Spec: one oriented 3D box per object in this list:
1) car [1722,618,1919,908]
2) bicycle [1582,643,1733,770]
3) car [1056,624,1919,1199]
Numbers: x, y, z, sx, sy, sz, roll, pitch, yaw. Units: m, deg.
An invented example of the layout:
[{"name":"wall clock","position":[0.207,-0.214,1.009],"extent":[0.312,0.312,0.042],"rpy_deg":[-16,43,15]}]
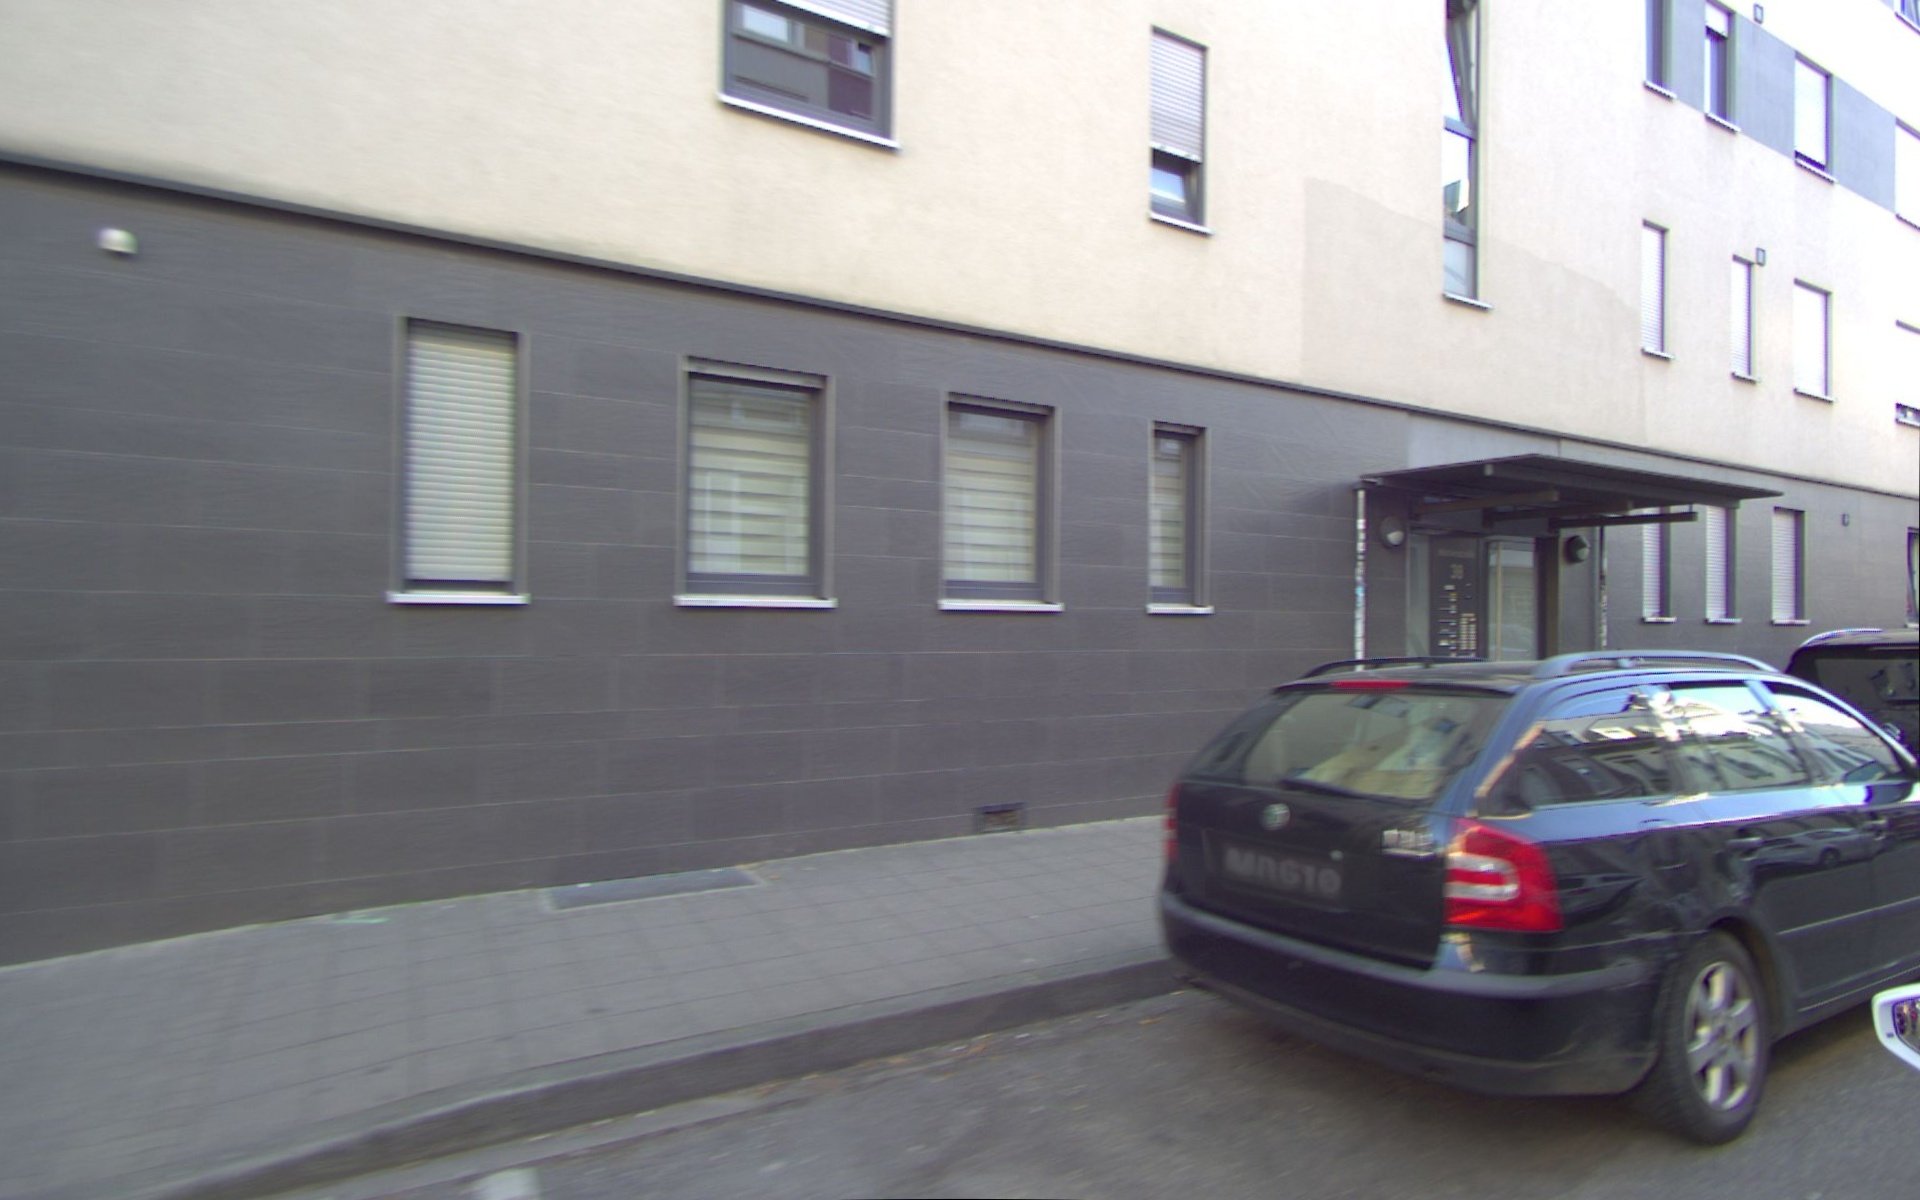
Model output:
[{"name":"car","position":[7.296,0.951,6.940],"extent":[4.195,1.672,1.709],"rpy_deg":[0,-3,-30]},{"name":"bicycle","position":[7.019,1.029,10.084],"extent":[1.751,1.180,0.488],"rpy_deg":[1,-3,-29]},{"name":"car","position":[2.718,0.887,4.189],"extent":[4.446,1.498,1.709],"rpy_deg":[0,-3,-30]}]
